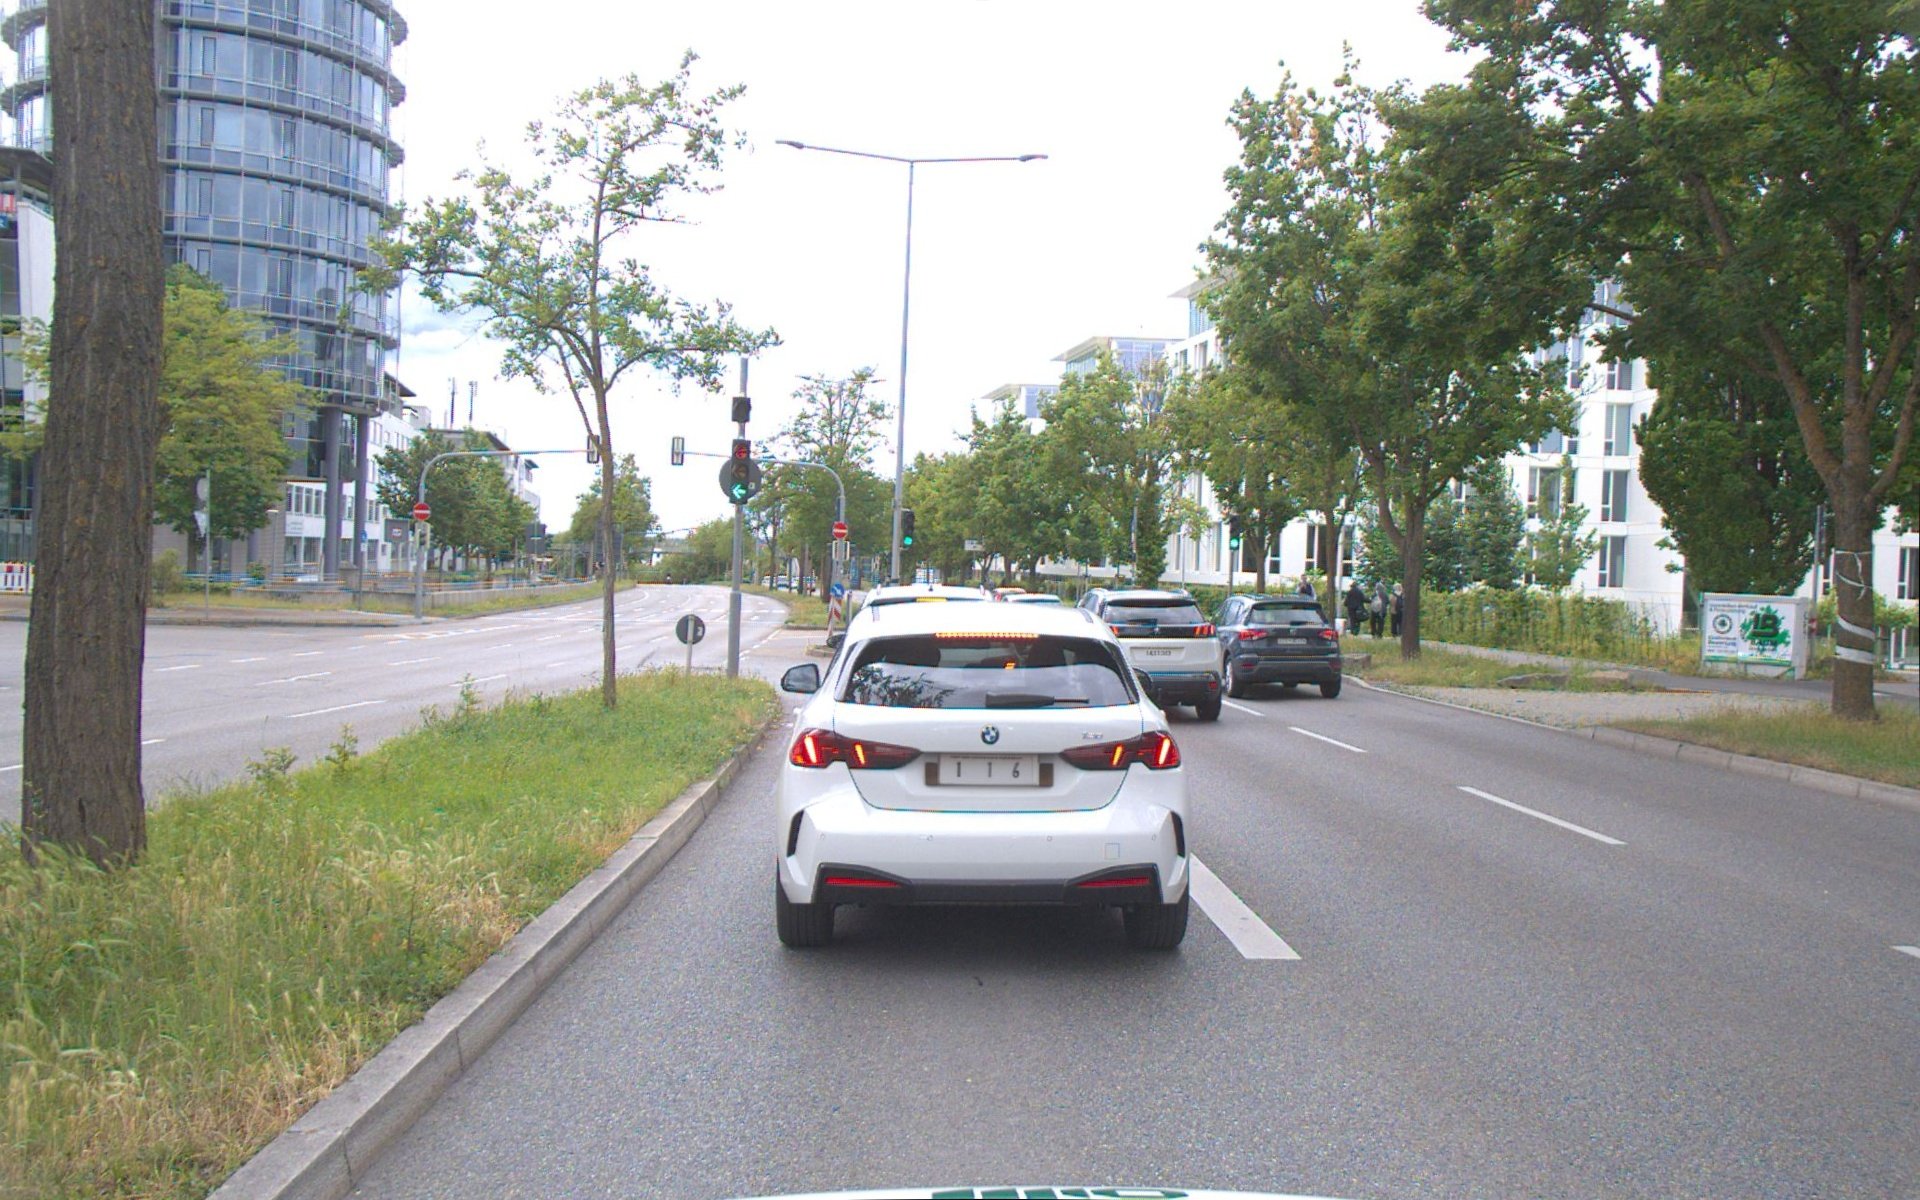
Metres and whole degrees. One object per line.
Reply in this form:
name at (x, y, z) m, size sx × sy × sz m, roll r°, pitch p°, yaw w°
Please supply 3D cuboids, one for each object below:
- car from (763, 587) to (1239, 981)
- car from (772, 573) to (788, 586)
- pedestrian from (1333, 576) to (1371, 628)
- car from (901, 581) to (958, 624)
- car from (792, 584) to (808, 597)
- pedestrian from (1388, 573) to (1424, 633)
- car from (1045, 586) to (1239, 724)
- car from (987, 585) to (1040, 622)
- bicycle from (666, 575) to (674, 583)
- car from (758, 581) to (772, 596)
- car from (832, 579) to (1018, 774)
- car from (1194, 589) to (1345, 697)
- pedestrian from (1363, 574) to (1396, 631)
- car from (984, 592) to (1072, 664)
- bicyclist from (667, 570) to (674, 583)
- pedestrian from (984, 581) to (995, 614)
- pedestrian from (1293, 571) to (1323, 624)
car at (0.131, 0.697, 8.324) m, size 1.785 × 1.463 × 3.999 m, roll 1°, pitch 0°, yaw -1°
car at (-25.103, -2.887, 230.890) m, size 1.957 × 1.763 × 3.991 m, roll 1°, pitch 0°, yaw -10°
pedestrian at (11.296, 0.066, 47.711) m, size 0.773 × 1.473 × 1.111 m, roll 1°, pitch 0°, yaw -2°
car at (-1.276, 0.082, 67.425) m, size 1.855 × 1.623 × 4.307 m, roll 1°, pitch 0°, yaw -7°
car at (-20.030, -1.218, 206.871) m, size 1.661 × 1.512 × 3.686 m, roll 1°, pitch 0°, yaw -9°
pedestrian at (12.863, 0.093, 47.686) m, size 0.751 × 1.715 × 0.883 m, roll 1°, pitch -1°, yaw -2°
car at (2.265, 0.638, 21.712) m, size 1.818 × 1.624 × 4.310 m, roll 0°, pitch 0°, yaw -4°
car at (2.141, 0.124, 67.008) m, size 1.622 × 1.450 × 3.530 m, roll 0°, pitch 0°, yaw -7°
bicycle at (-38.572, -2.783, 220.242) m, size 0.797 × 1.123 × 2.546 m, roll 1°, pitch 0°, yaw -15°
car at (-24.364, -1.451, 206.864) m, size 1.663 × 1.747 × 3.994 m, roll 1°, pitch 0°, yaw -7°
car at (-0.322, 0.630, 15.836) m, size 1.518 × 1.596 × 3.999 m, roll 1°, pitch 0°, yaw -1°
car at (4.804, 0.621, 26.134) m, size 1.623 × 1.539 × 4.000 m, roll 1°, pitch 0°, yaw 0°
pedestrian at (12.101, 0.080, 47.688) m, size 0.685 × 1.623 × 0.883 m, roll 1°, pitch 0°, yaw -2°
car at (1.466, 0.582, 36.834) m, size 1.573 × 1.494 × 3.673 m, roll 1°, pitch 0°, yaw -3°
bicyclist at (-38.583, -3.130, 220.298) m, size 0.797 × 1.681 × 1.184 m, roll 1°, pitch 0°, yaw -15°
pedestrian at (2.404, -0.190, 134.049) m, size 0.814 × 2.673 × 0.646 m, roll 1°, pitch 0°, yaw -1°
pedestrian at (10.644, -0.064, 50.567) m, size 0.726 × 1.601 × 0.674 m, roll 1°, pitch -1°, yaw -2°
